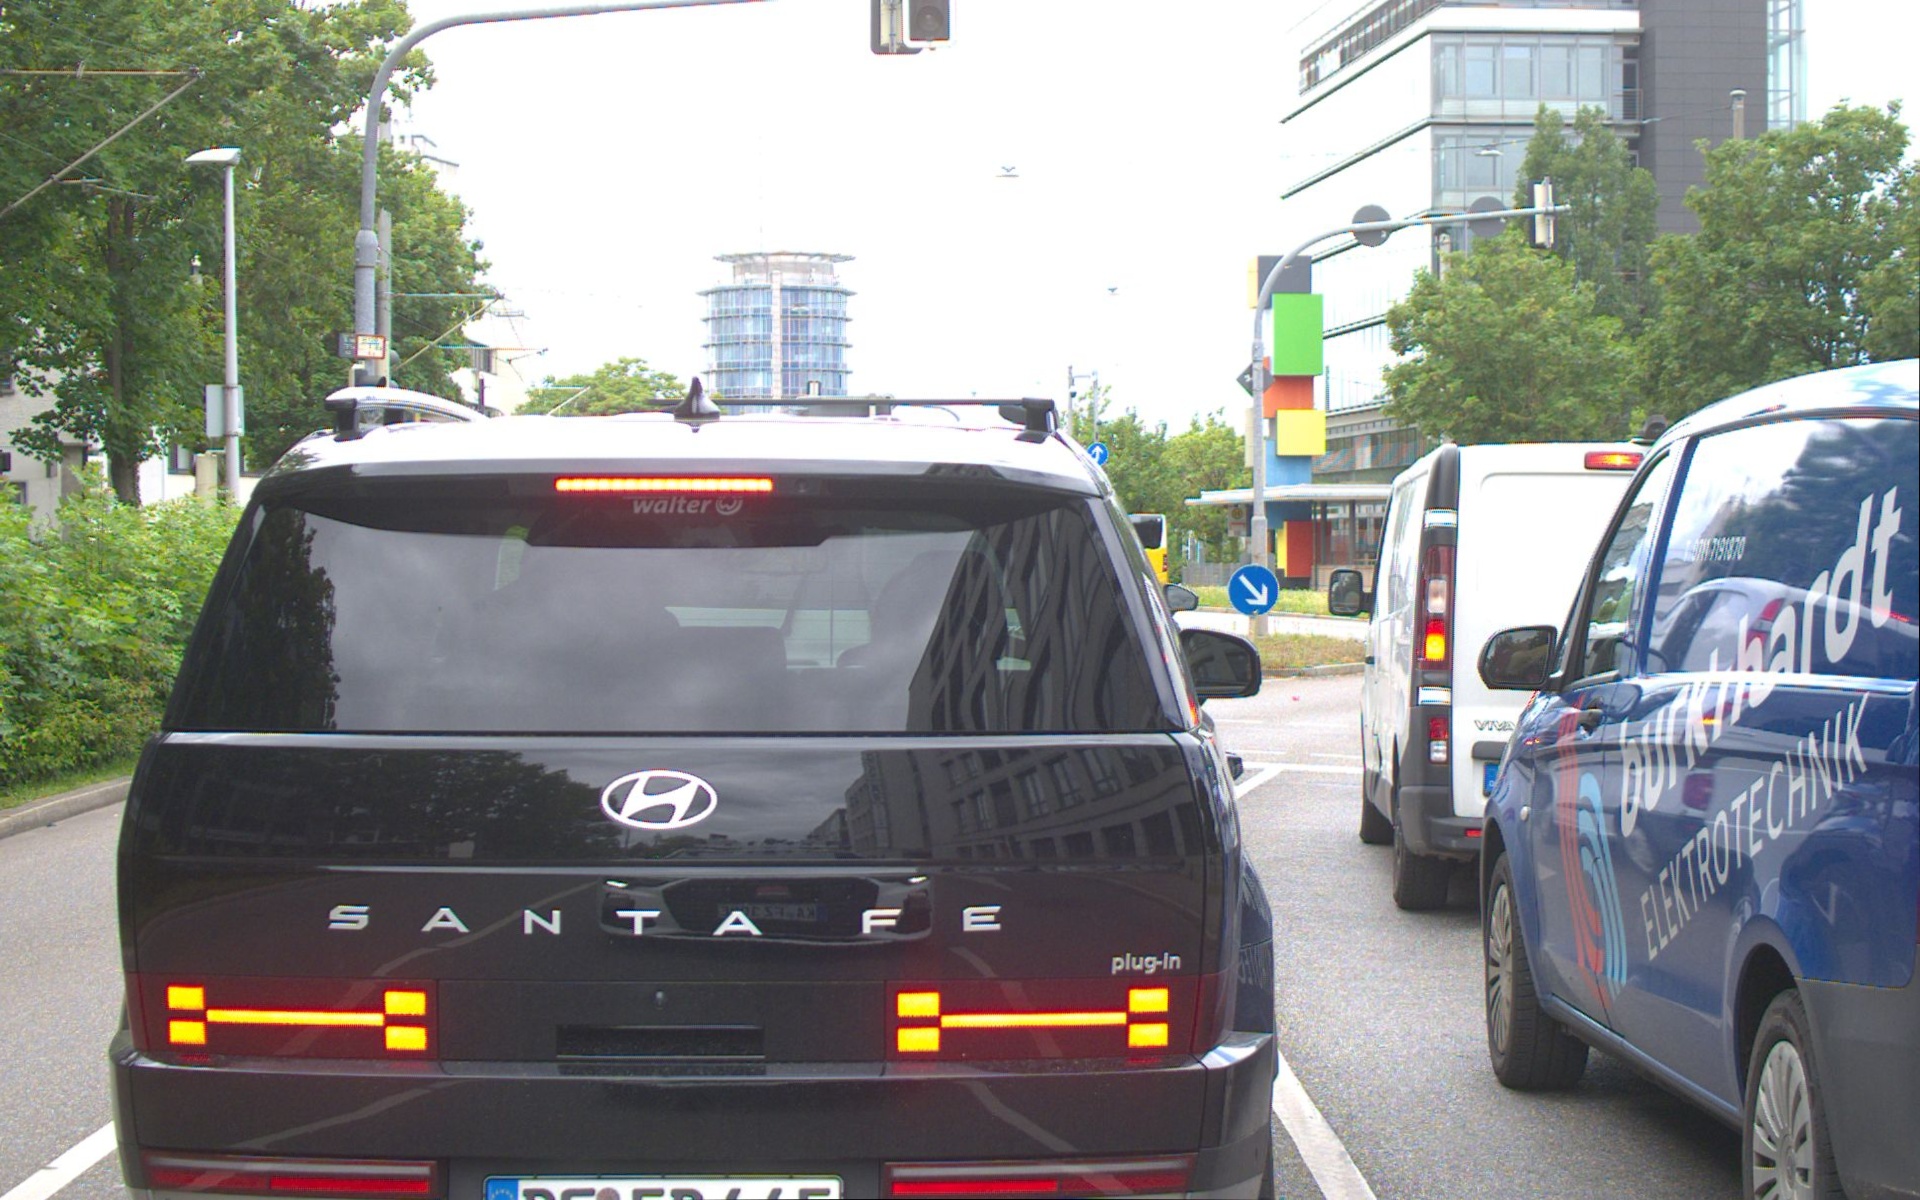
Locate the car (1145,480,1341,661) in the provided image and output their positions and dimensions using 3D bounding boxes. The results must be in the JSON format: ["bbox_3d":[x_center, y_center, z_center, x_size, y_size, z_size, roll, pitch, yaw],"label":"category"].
[{"bbox_3d":[3.268,-0.347,40.379,1.993,2.007,4.000,0,0,1],"label":"car"}]

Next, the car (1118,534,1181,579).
[{"bbox_3d":[7.252,-1.654,131.823,1.993,1.678,4.000,0,0,-3],"label":"car"}]

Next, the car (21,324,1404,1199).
[{"bbox_3d":[-0.351,0.472,6.605,1.869,1.754,3.880,0,1,-1],"label":"car"}]

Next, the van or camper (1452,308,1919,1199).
[{"bbox_3d":[2.396,0.457,7.554,1.859,1.904,5.032,0,1,-1],"label":"van or camper"}]

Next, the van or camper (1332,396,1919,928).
[{"bbox_3d":[2.804,0.193,15.413,1.994,2.007,4.652,1,1,3],"label":"van or camper"}]

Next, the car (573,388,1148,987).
[{"bbox_3d":[-0.353,0.260,13.437,1.915,1.996,3.880,0,1,-1],"label":"car"}]

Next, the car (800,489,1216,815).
[{"bbox_3d":[0.403,0.257,20.433,1.776,1.711,4.336,1,0,10],"label":"car"}]
